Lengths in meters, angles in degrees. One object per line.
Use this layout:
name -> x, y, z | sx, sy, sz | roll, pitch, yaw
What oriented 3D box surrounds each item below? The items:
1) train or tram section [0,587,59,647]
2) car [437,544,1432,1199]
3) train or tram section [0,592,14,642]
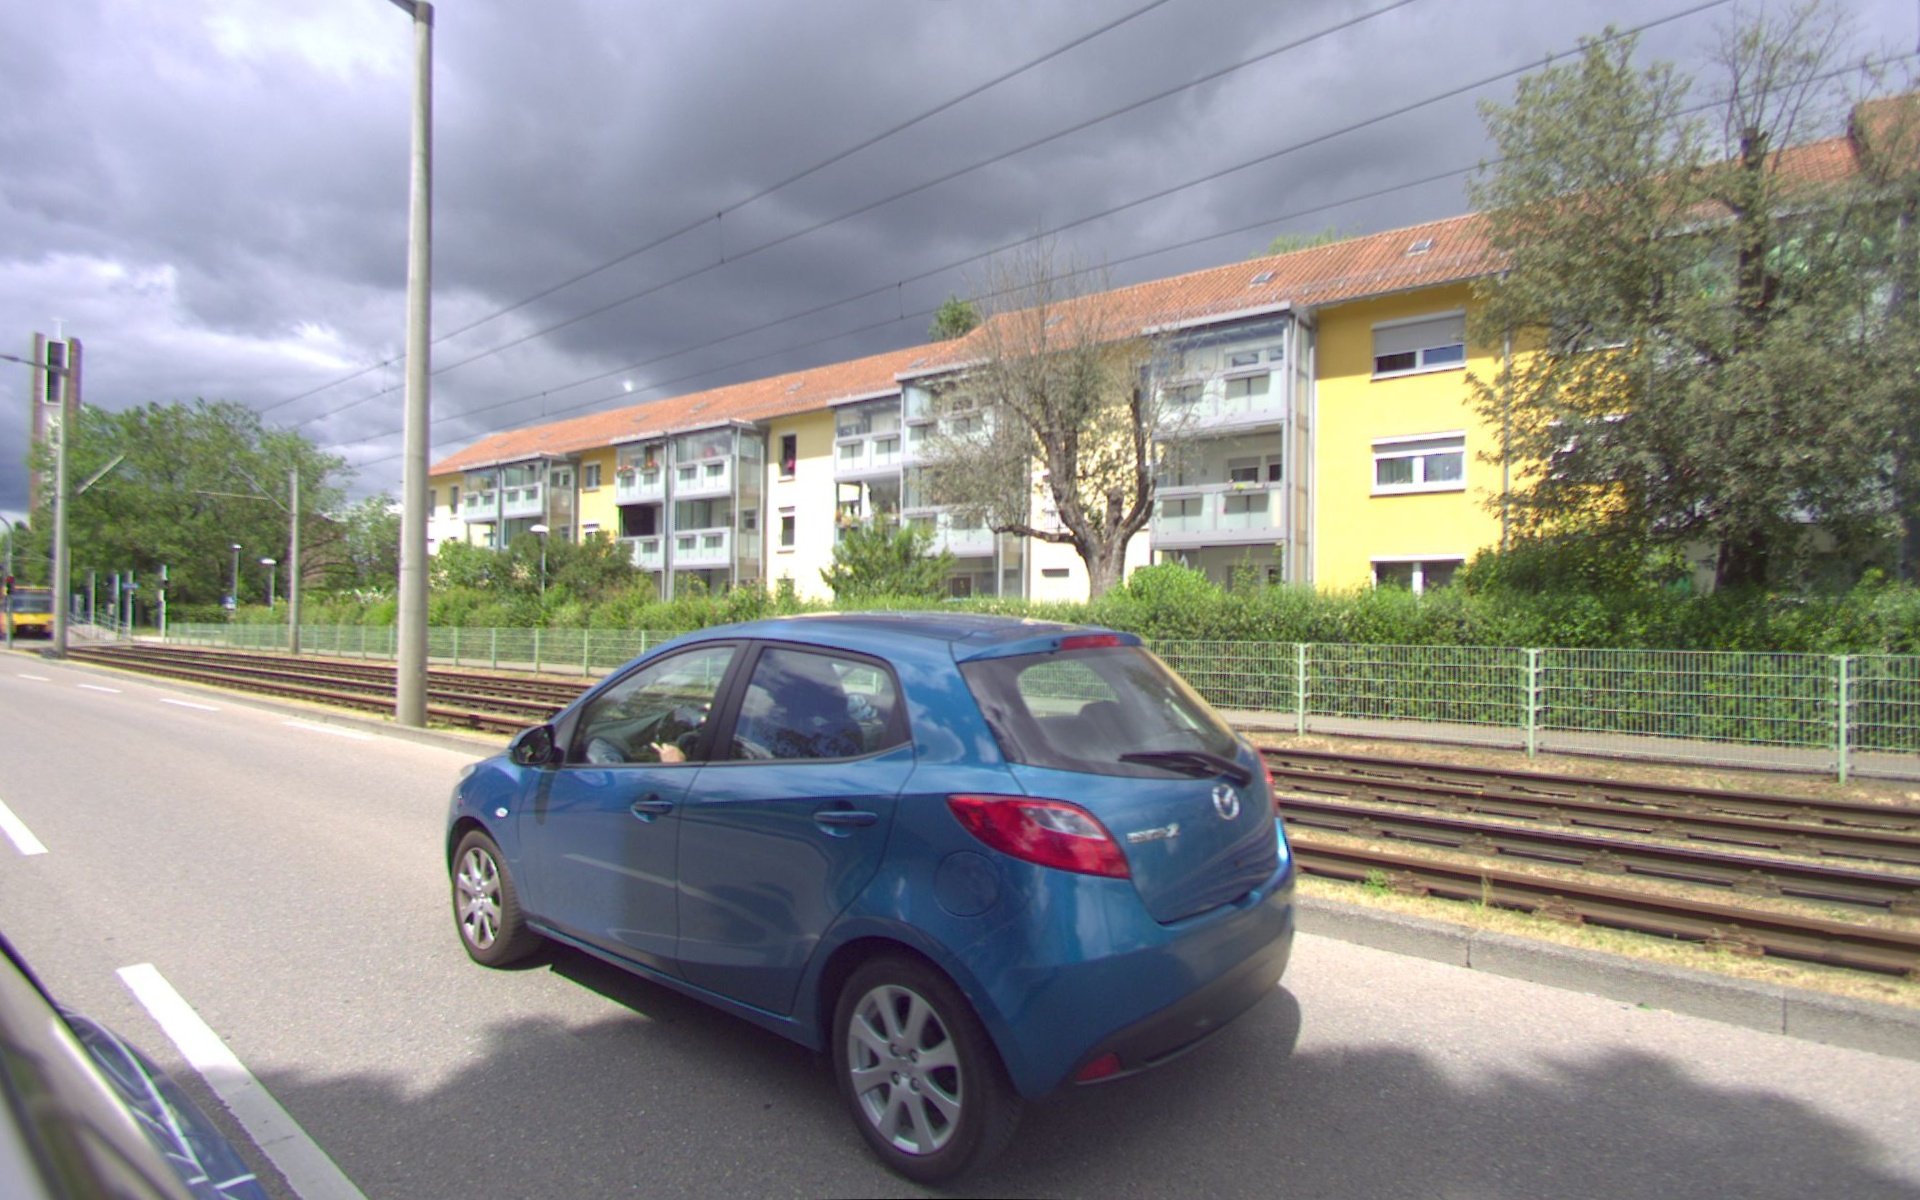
train or tram section -> -68.145, 1.218, 72.359 | 18.523, 3.892, 2.950 | -1, 0, 40
car -> -0.380, 0.685, 3.775 | 3.579, 1.537, 1.607 | -1, -1, 41
train or tram section -> -78.462, 1.388, 81.063 | 8.371, 3.892, 2.950 | -1, 0, 40
